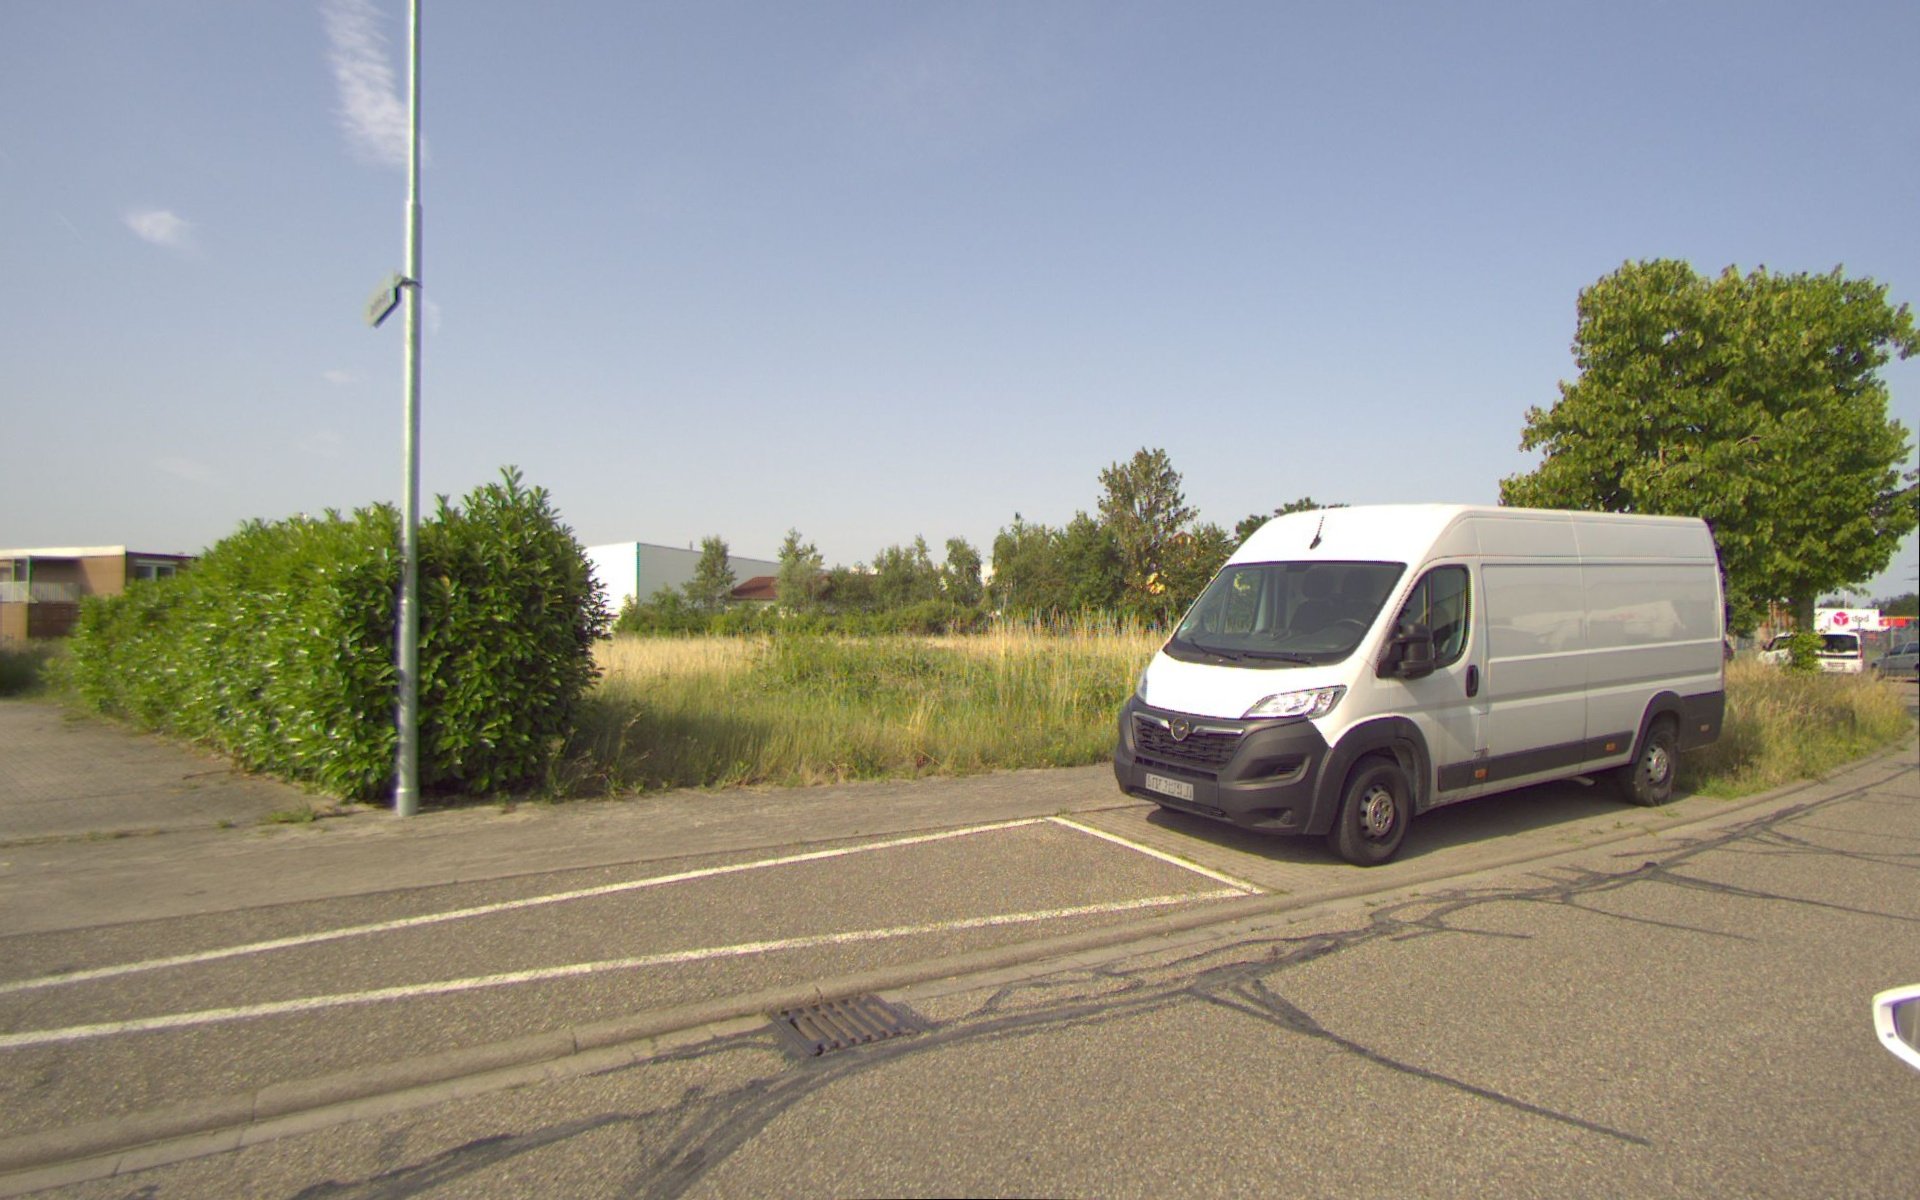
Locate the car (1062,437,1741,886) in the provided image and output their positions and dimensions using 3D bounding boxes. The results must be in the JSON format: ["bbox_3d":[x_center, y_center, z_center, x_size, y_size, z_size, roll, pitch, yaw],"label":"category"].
[{"bbox_3d":[4.049,0.408,8.535,6.434,2.630,2.089,1,0,-33],"label":"car"}]

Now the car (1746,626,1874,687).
[{"bbox_3d":[31.984,2.107,37.985,2.086,2.138,4.626,0,-2,19],"label":"car"}]

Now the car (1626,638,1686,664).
[{"bbox_3d":[41.980,3.043,60.663,1.686,1.474,4.189,-2,-3,17],"label":"car"}]

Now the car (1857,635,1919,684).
[{"bbox_3d":[34.442,2.083,35.908,1.769,1.647,4.451,-2,-3,17],"label":"car"}]

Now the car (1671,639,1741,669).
[{"bbox_3d":[40.748,2.937,54.996,1.686,1.535,4.006,-2,-2,16],"label":"car"}]
